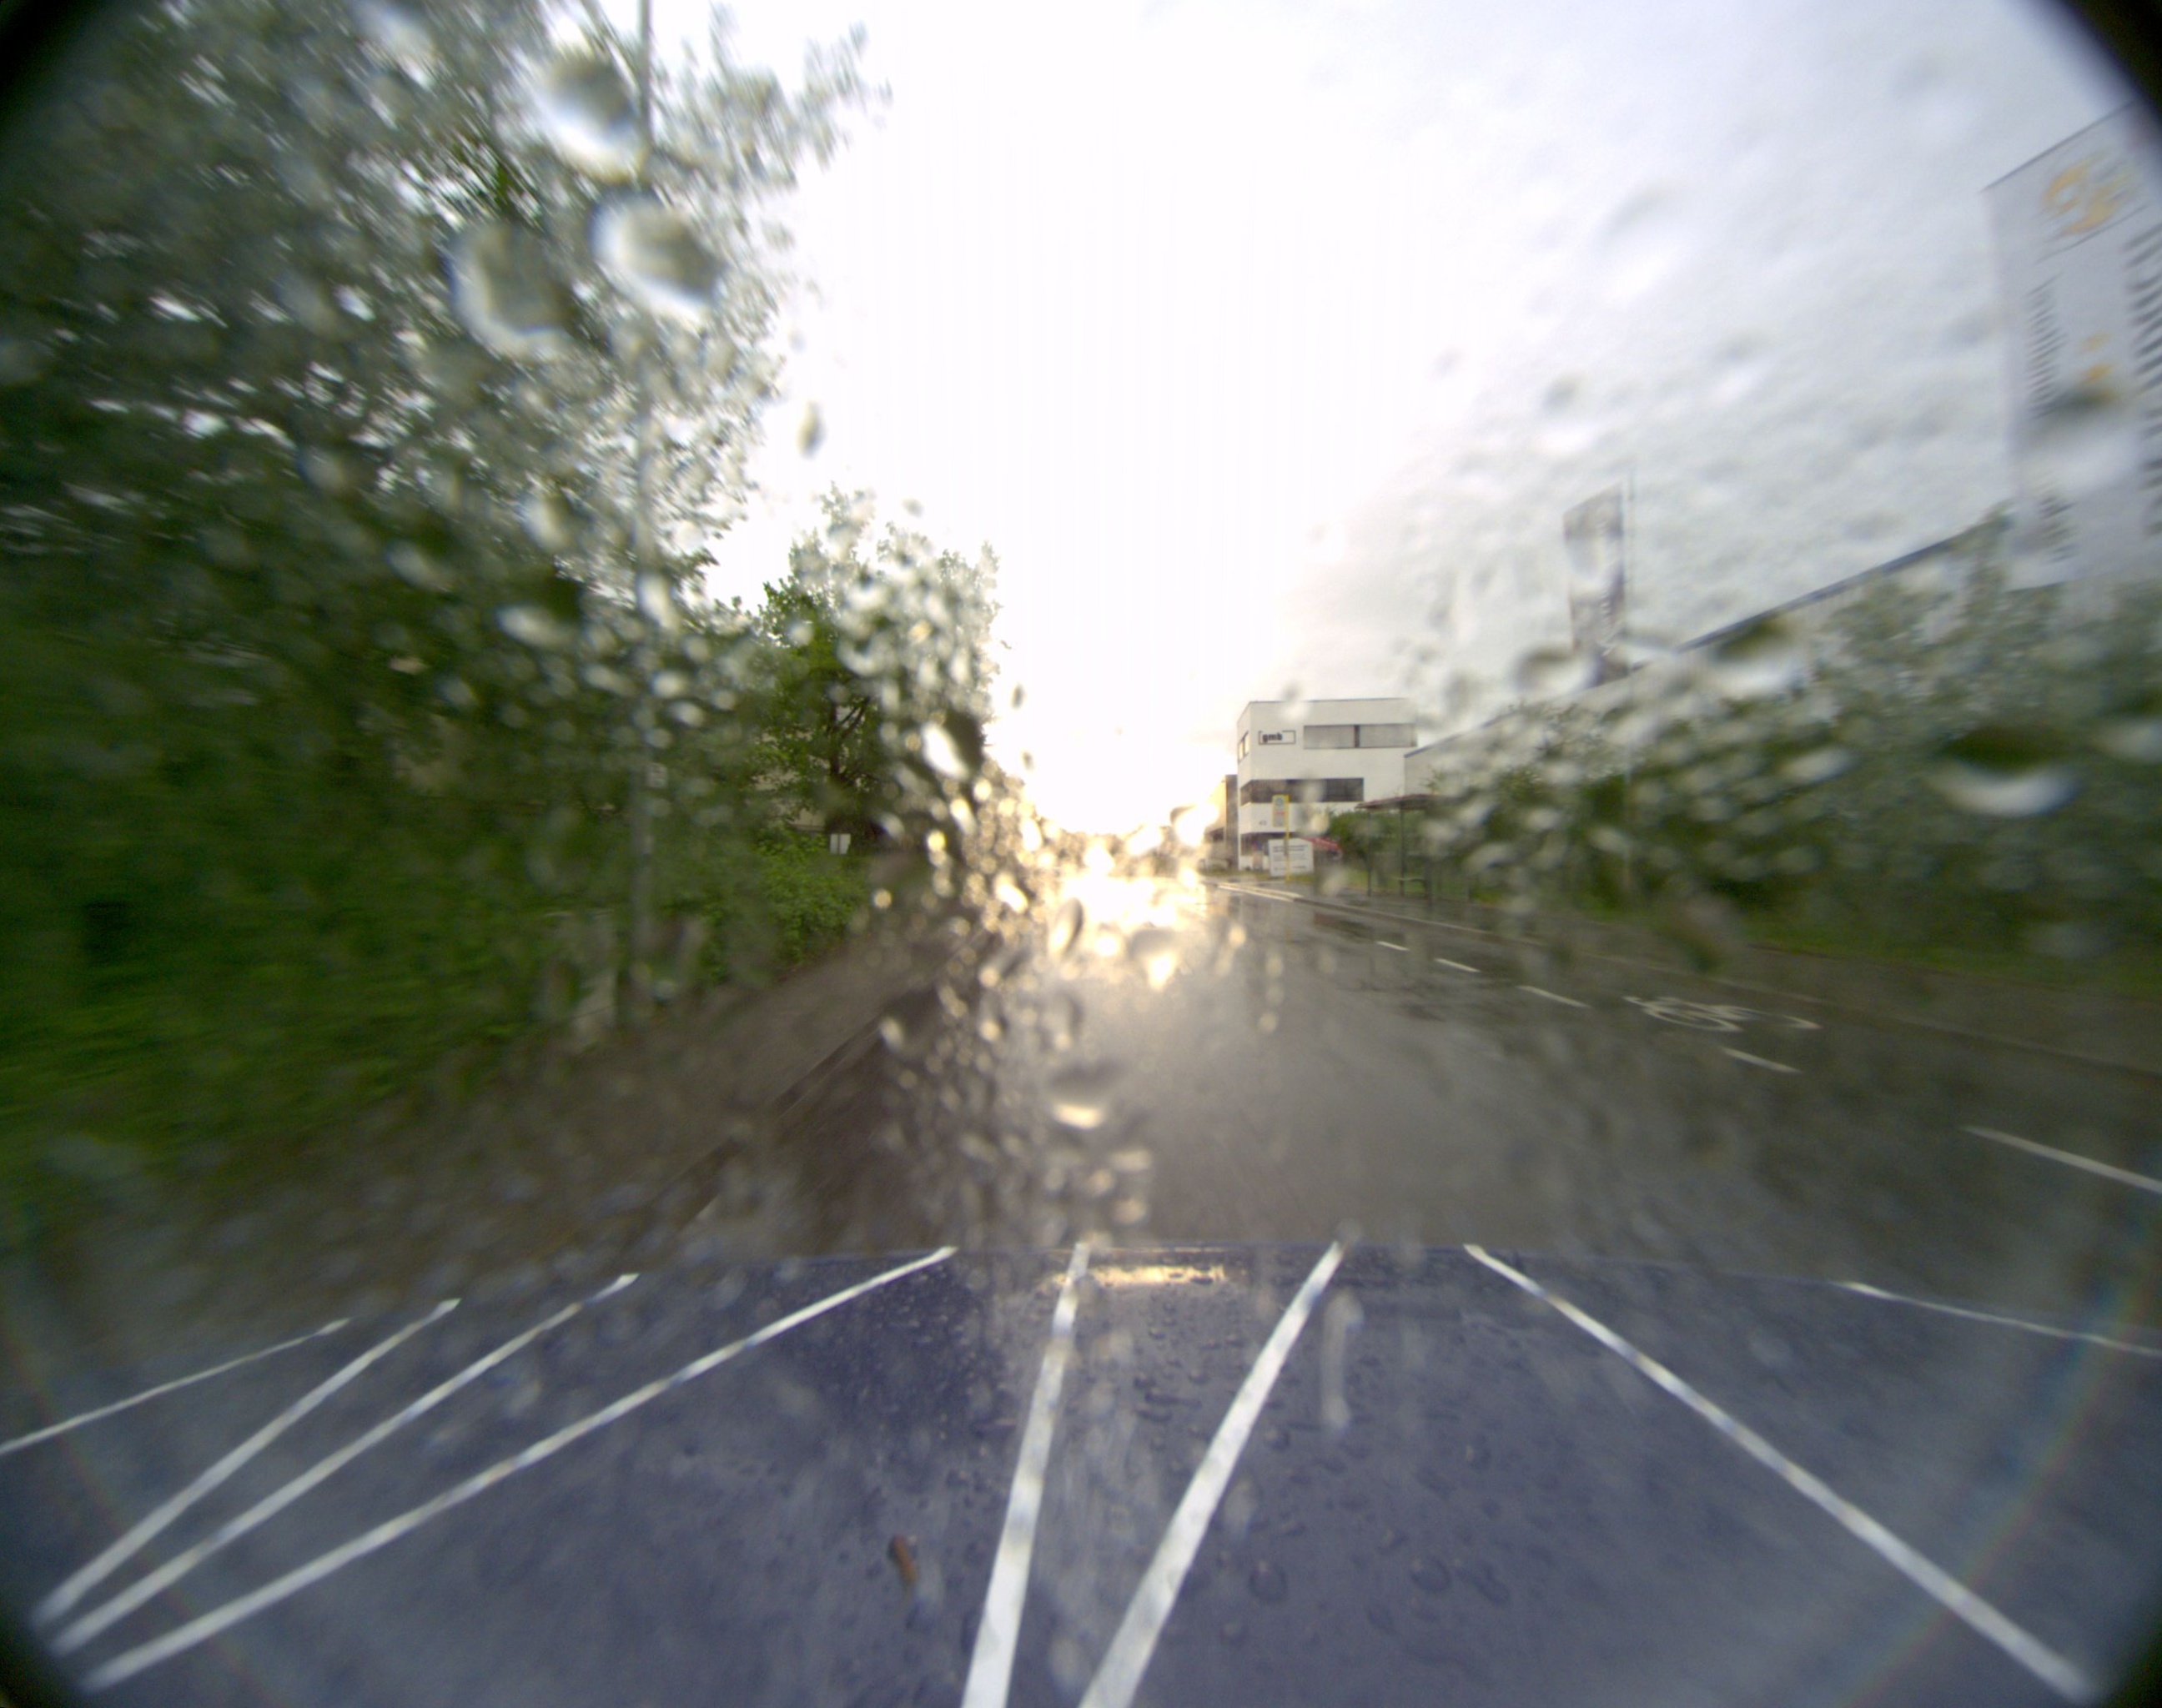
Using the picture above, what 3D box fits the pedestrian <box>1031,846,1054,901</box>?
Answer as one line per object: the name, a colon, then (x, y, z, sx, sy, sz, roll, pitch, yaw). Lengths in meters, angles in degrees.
pedestrian: (-1.298, 0.648, 25.779, 0.747, 1.827, 0.890, 0, 0, -3)
